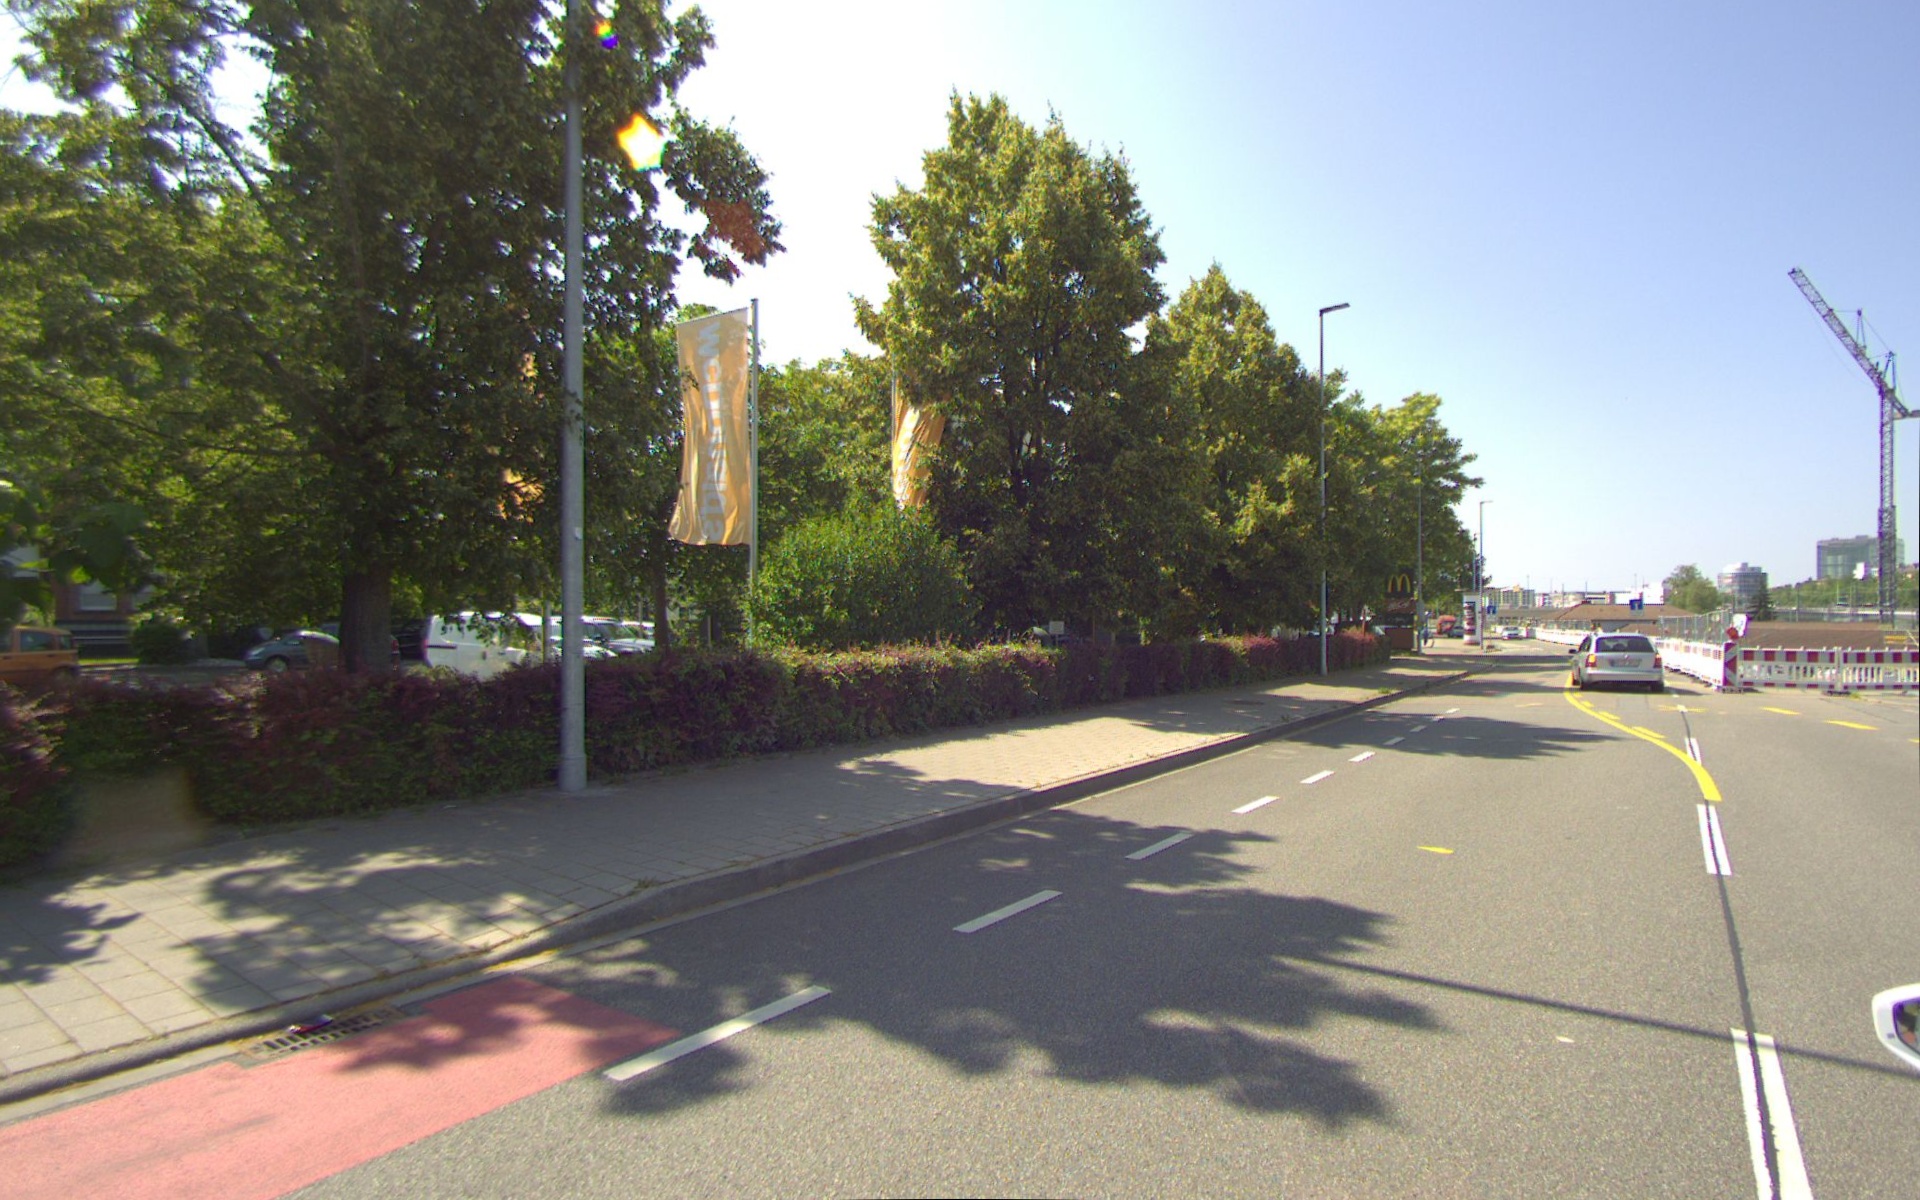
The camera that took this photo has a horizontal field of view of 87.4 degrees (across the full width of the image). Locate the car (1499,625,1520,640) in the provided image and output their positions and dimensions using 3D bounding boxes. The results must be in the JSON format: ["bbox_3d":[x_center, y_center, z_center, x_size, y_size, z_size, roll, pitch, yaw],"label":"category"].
[{"bbox_3d":[57.049,3.370,104.347,1.651,1.512,4.601,-2,-2,26],"label":"car"}]

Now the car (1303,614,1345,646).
[{"bbox_3d":[33.212,2.738,91.458,2.245,2.794,6.137,-2,-3,33],"label":"car"}]

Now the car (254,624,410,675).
[{"bbox_3d":[-20.258,1.577,32.488,4.134,1.537,1.746,2,-1,-37],"label":"car"}]

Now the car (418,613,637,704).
[{"bbox_3d":[-9.434,1.216,21.980,4.266,1.852,1.750,0,0,16],"label":"car"}]

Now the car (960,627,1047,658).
[{"bbox_3d":[2.158,2.076,49.771,3.992,1.414,1.627,0,-1,21],"label":"car"}]

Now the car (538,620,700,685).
[{"bbox_3d":[-9.232,1.375,27.289,3.735,1.604,1.906,1,-1,18],"label":"car"}]

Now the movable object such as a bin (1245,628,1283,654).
[{"bbox_3d":[19.468,2.612,64.294,1.442,1.546,1.757,-3,-1,-39],"label":"movable object such as a bin"}]

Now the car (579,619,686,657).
[{"bbox_3d":[-13.709,1.574,42.108,3.968,1.469,1.795,0,-1,20],"label":"car"}]

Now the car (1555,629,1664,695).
[{"bbox_3d":[16.125,1.475,25.126,1.682,1.422,4.383,0,-1,25],"label":"car"}]

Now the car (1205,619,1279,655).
[{"bbox_3d":[17.542,2.331,62.668,1.867,1.945,4.499,-2,-3,-25],"label":"car"}]

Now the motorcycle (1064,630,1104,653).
[{"bbox_3d":[6.659,2.227,54.084,2.139,1.146,0.570,1,-1,5],"label":"motorcycle"}]

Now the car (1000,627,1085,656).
[{"bbox_3d":[4.251,2.129,51.806,4.015,1.406,1.770,0,-1,21],"label":"car"}]

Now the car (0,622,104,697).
[{"bbox_3d":[-22.107,1.337,22.807,1.636,1.653,3.723,0,-1,21],"label":"car"}]

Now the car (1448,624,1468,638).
[{"bbox_3d":[57.901,3.606,116.772,1.841,1.518,4.025,-2,-1,29],"label":"car"}]
